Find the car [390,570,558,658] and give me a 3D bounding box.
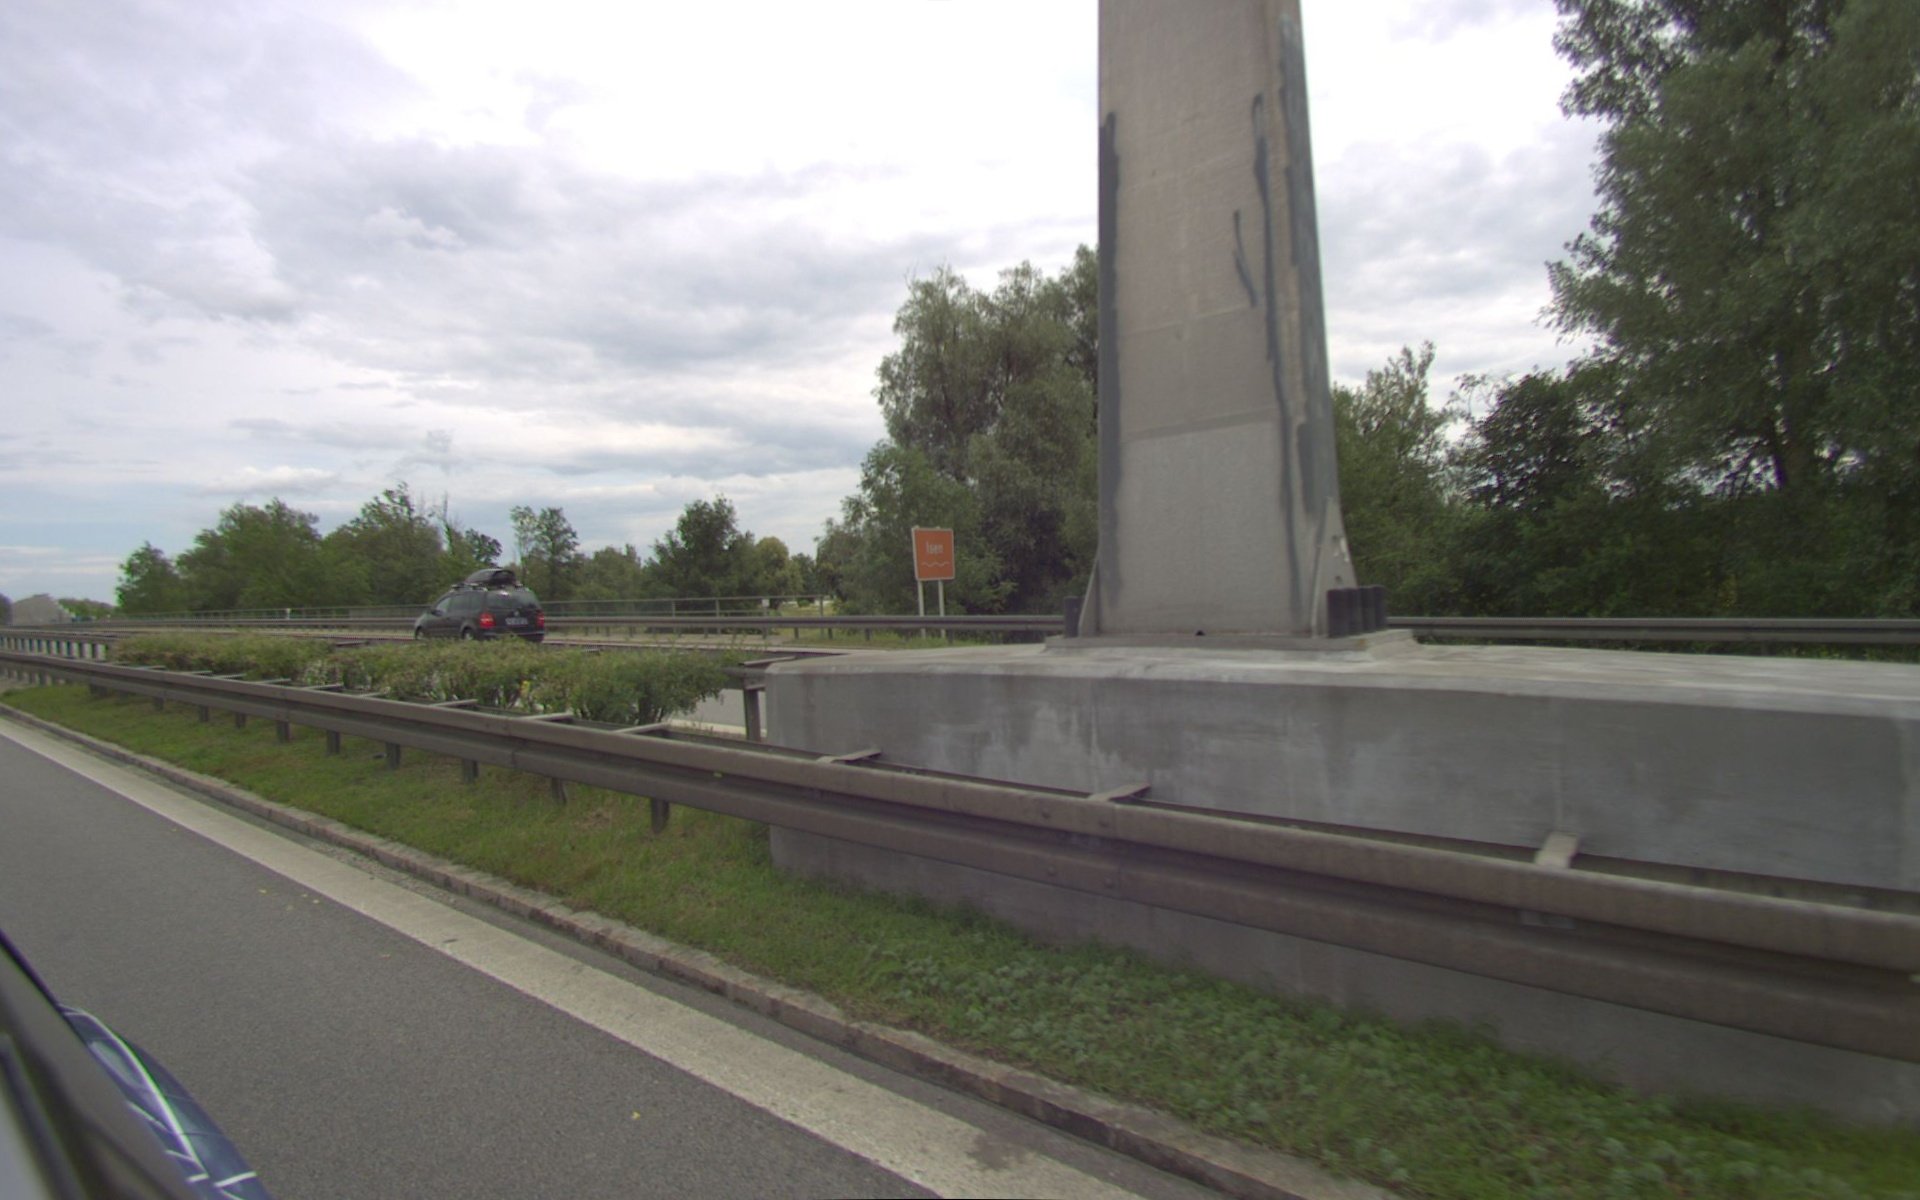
[{"bbox_3d":[-12.378,0.332,25.638,4.738,2.017,1.974,-1,1,39],"label":"car"}]
